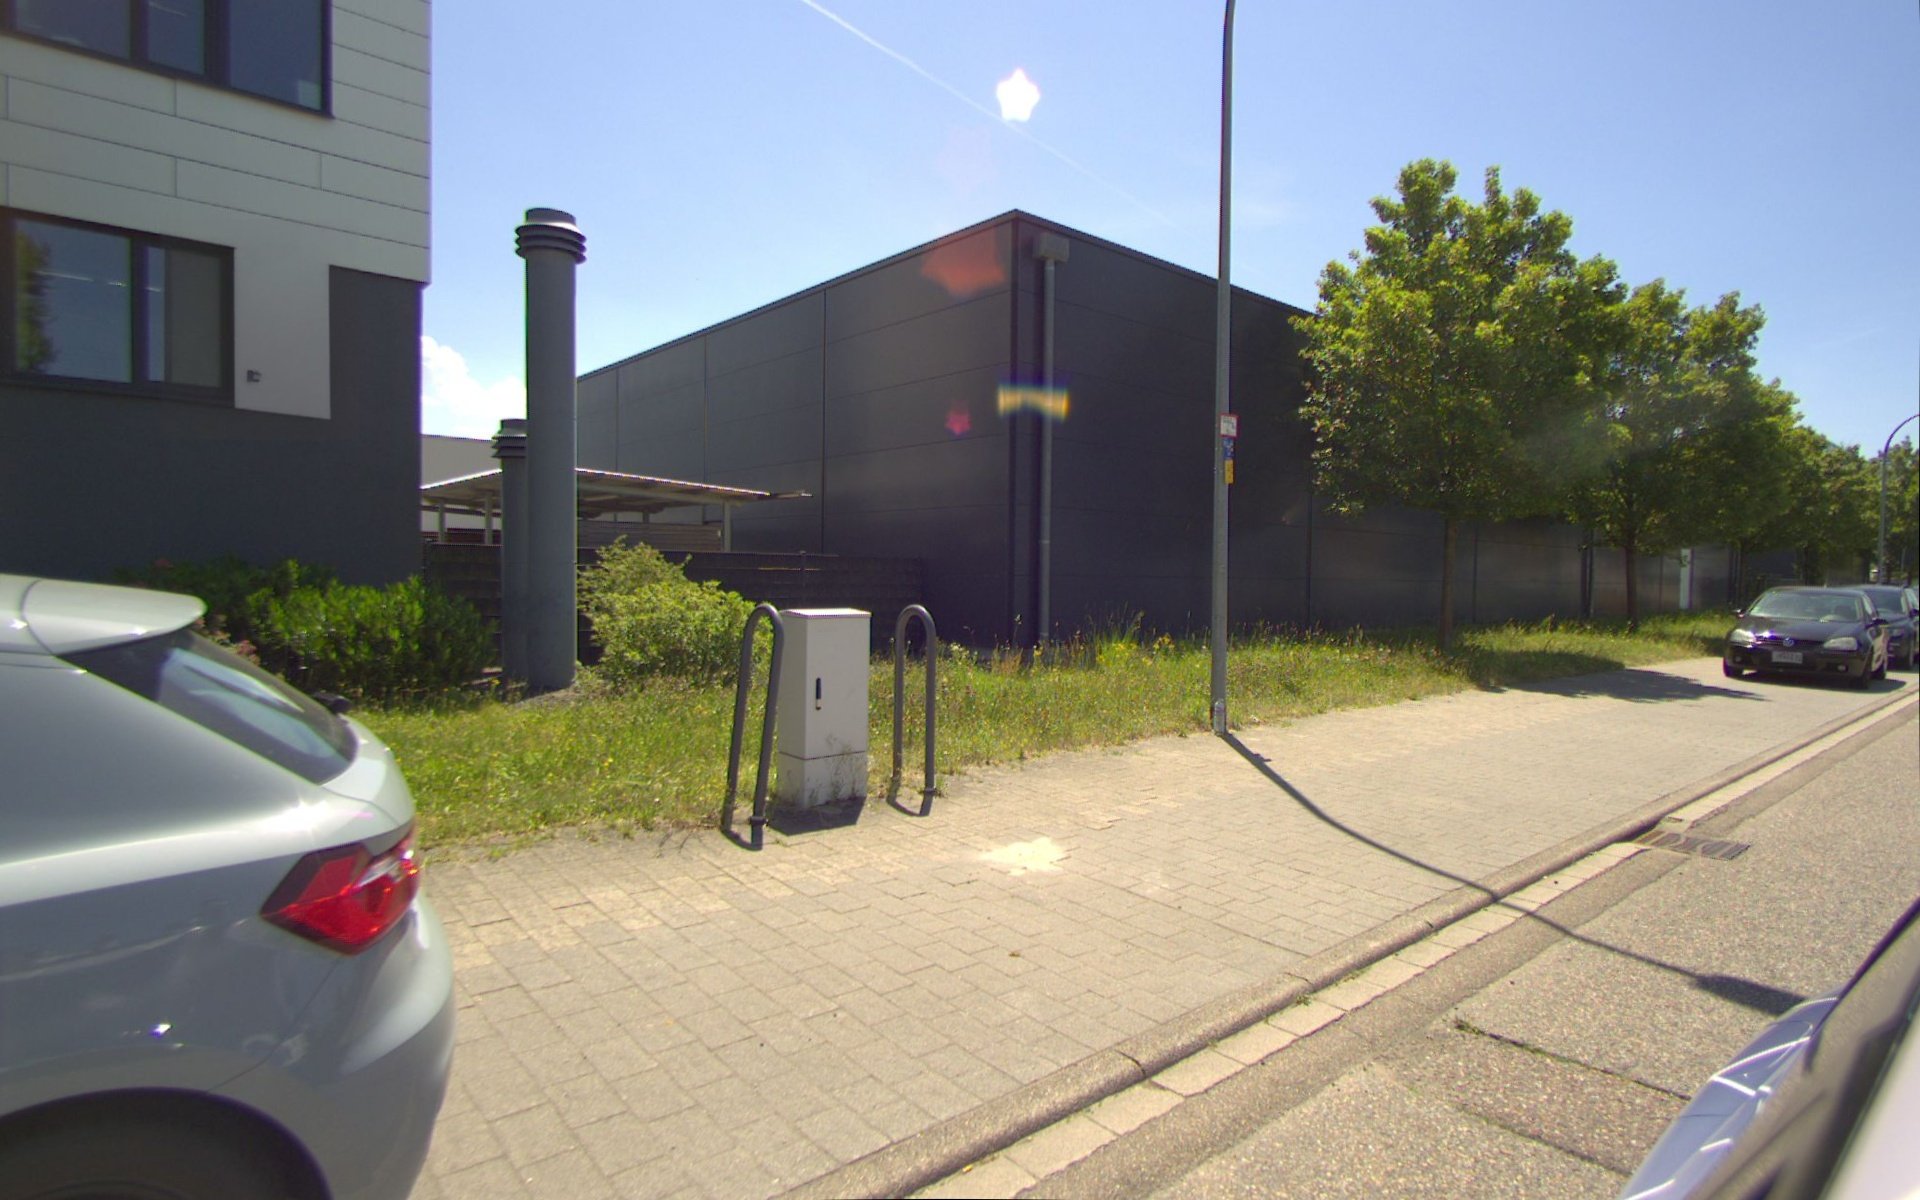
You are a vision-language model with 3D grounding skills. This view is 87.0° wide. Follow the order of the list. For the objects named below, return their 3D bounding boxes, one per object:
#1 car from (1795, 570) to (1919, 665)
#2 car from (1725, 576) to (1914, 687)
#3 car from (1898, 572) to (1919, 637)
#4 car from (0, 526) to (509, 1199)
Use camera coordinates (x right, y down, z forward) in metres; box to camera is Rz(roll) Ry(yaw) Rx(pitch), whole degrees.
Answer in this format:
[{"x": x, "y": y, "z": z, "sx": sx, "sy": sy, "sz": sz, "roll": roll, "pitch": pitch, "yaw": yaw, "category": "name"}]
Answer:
[{"x": 18.453, "y": 0.272, "z": 20.357, "sx": 4.633, "sy": 1.637, "sz": 1.811, "roll": -1, "pitch": 3, "yaw": -42, "category": "car"}, {"x": 13.873, "y": 0.410, "z": 16.252, "sx": 4.195, "sy": 1.494, "sz": 1.695, "roll": -1, "pitch": 3, "yaw": -42, "category": "car"}, {"x": 27.358, "y": 0.135, "z": 27.883, "sx": 4.293, "sy": 1.690, "sz": 1.741, "roll": -1, "pitch": 3, "yaw": -42, "category": "car"}, {"x": -2.845, "y": 0.602, "z": 1.217, "sx": 3.881, "sy": 1.440, "sz": 1.720, "roll": 0, "pitch": 4, "yaw": -40, "category": "car"}]
